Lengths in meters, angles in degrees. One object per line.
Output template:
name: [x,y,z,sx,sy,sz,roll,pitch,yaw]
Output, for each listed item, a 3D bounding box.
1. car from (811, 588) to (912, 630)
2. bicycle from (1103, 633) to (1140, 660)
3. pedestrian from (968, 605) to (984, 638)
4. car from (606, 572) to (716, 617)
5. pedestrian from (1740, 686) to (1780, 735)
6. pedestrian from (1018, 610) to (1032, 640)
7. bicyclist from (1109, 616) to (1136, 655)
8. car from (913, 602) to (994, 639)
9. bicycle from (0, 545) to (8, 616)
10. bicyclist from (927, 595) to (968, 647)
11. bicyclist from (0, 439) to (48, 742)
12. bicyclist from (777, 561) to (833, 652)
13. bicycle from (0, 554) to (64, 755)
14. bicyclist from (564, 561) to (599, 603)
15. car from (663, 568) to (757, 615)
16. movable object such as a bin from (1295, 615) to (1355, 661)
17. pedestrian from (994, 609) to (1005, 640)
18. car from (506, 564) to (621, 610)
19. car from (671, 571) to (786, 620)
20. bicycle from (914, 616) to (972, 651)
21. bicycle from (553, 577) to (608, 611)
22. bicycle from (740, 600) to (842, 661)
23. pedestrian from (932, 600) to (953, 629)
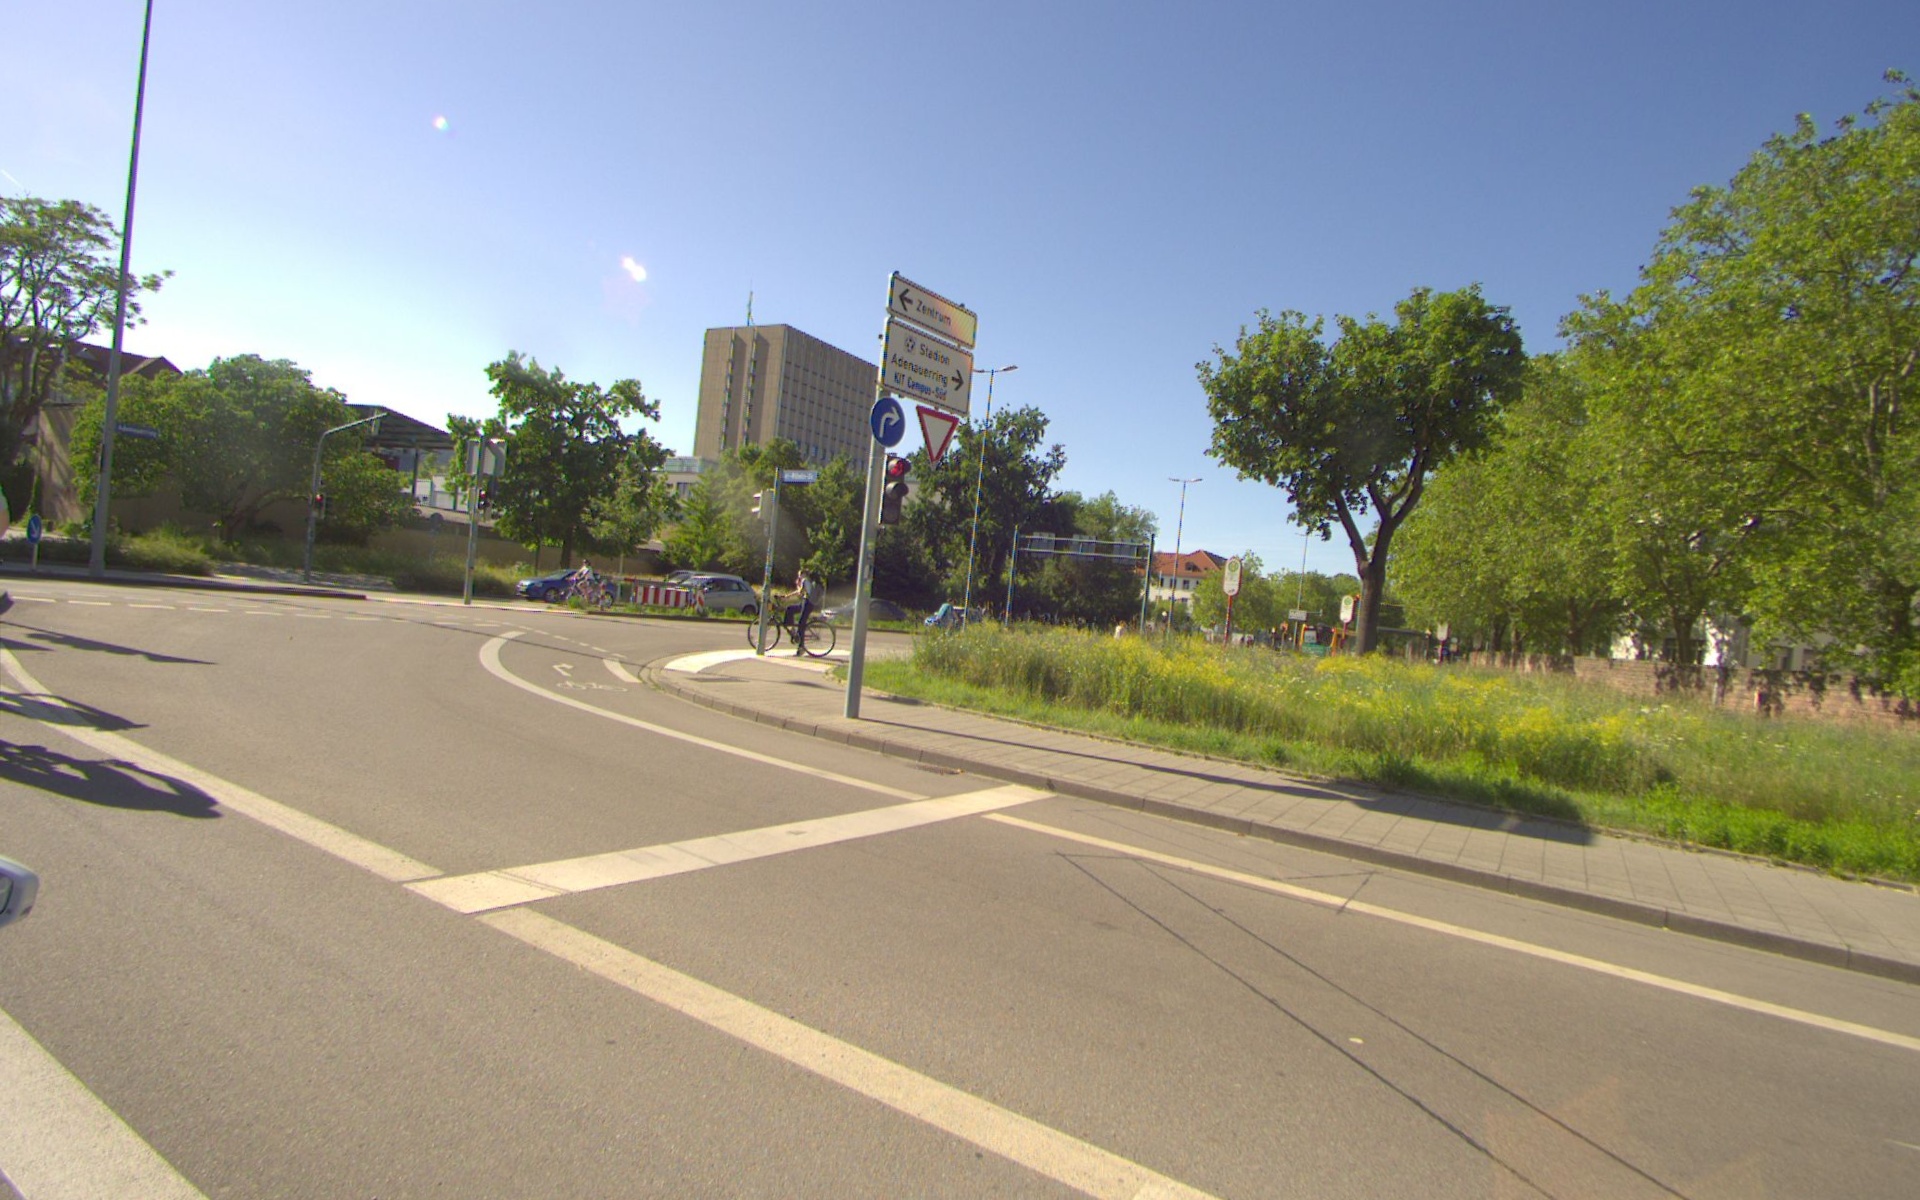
car: [-4.309,0.435,44.632,1.767,1.415,4.557,7,0,37]
bicycle: [6.704,1.938,41.667,0.514,1.000,1.965,7,1,39]
pedestrian: [1.246,1.707,79.275,0.660,2.451,0.770,6,-1,34]
car: [-12.299,-0.200,41.573,1.767,1.415,3.986,7,0,37]
pedestrian: [25.868,3.574,32.532,0.712,1.460,0.523,7,-1,2]
pedestrian: [5.397,2.076,83.593,0.710,2.451,0.585,6,-1,34]
bicyclist: [6.747,1.478,41.654,0.509,1.548,1.067,7,2,39]
car: [-0.294,1.050,50.460,1.916,1.415,3.986,6,0,37]
bicycle: [-8.201,0.024,7.773,1.890,1.102,0.690,6,-1,32]
bicyclist: [-0.396,0.672,31.422,0.632,1.533,1.049,7,2,39]
bicyclist: [-6.316,-0.116,6.140,1.123,1.813,0.684,7,0,32]
bicyclist: [-3.036,0.125,19.708,0.898,1.667,0.630,6,1,-9]
bicycle: [-6.300,0.237,6.114,1.890,1.102,0.690,6,-1,32]
bicyclist: [-13.503,-0.642,35.865,0.602,1.360,0.874,7,1,37]
car: [-11.842,-0.367,47.798,1.767,1.771,3.986,7,0,37]
movable object such as a bin: [27.933,2.979,76.650,2.954,2.898,9.178,6,0,27]
pedestrian: [3.200,2.005,81.807,0.401,2.451,0.467,6,-1,34]
car: [-16.210,-0.526,41.320,1.767,1.415,3.986,7,0,37]
car: [-8.739,-0.130,38.292,1.767,1.415,3.986,7,0,37]
bicycle: [-0.514,1.051,31.322,0.640,0.986,1.895,7,1,39]
bicycle: [-13.529,-0.194,35.898,0.602,1.046,1.681,7,0,37]
bicycle: [-3.290,0.592,19.680,1.856,0.970,0.635,7,1,-10]
pedestrian: [-1.310,1.079,75.169,0.752,2.039,1.267,7,1,36]
